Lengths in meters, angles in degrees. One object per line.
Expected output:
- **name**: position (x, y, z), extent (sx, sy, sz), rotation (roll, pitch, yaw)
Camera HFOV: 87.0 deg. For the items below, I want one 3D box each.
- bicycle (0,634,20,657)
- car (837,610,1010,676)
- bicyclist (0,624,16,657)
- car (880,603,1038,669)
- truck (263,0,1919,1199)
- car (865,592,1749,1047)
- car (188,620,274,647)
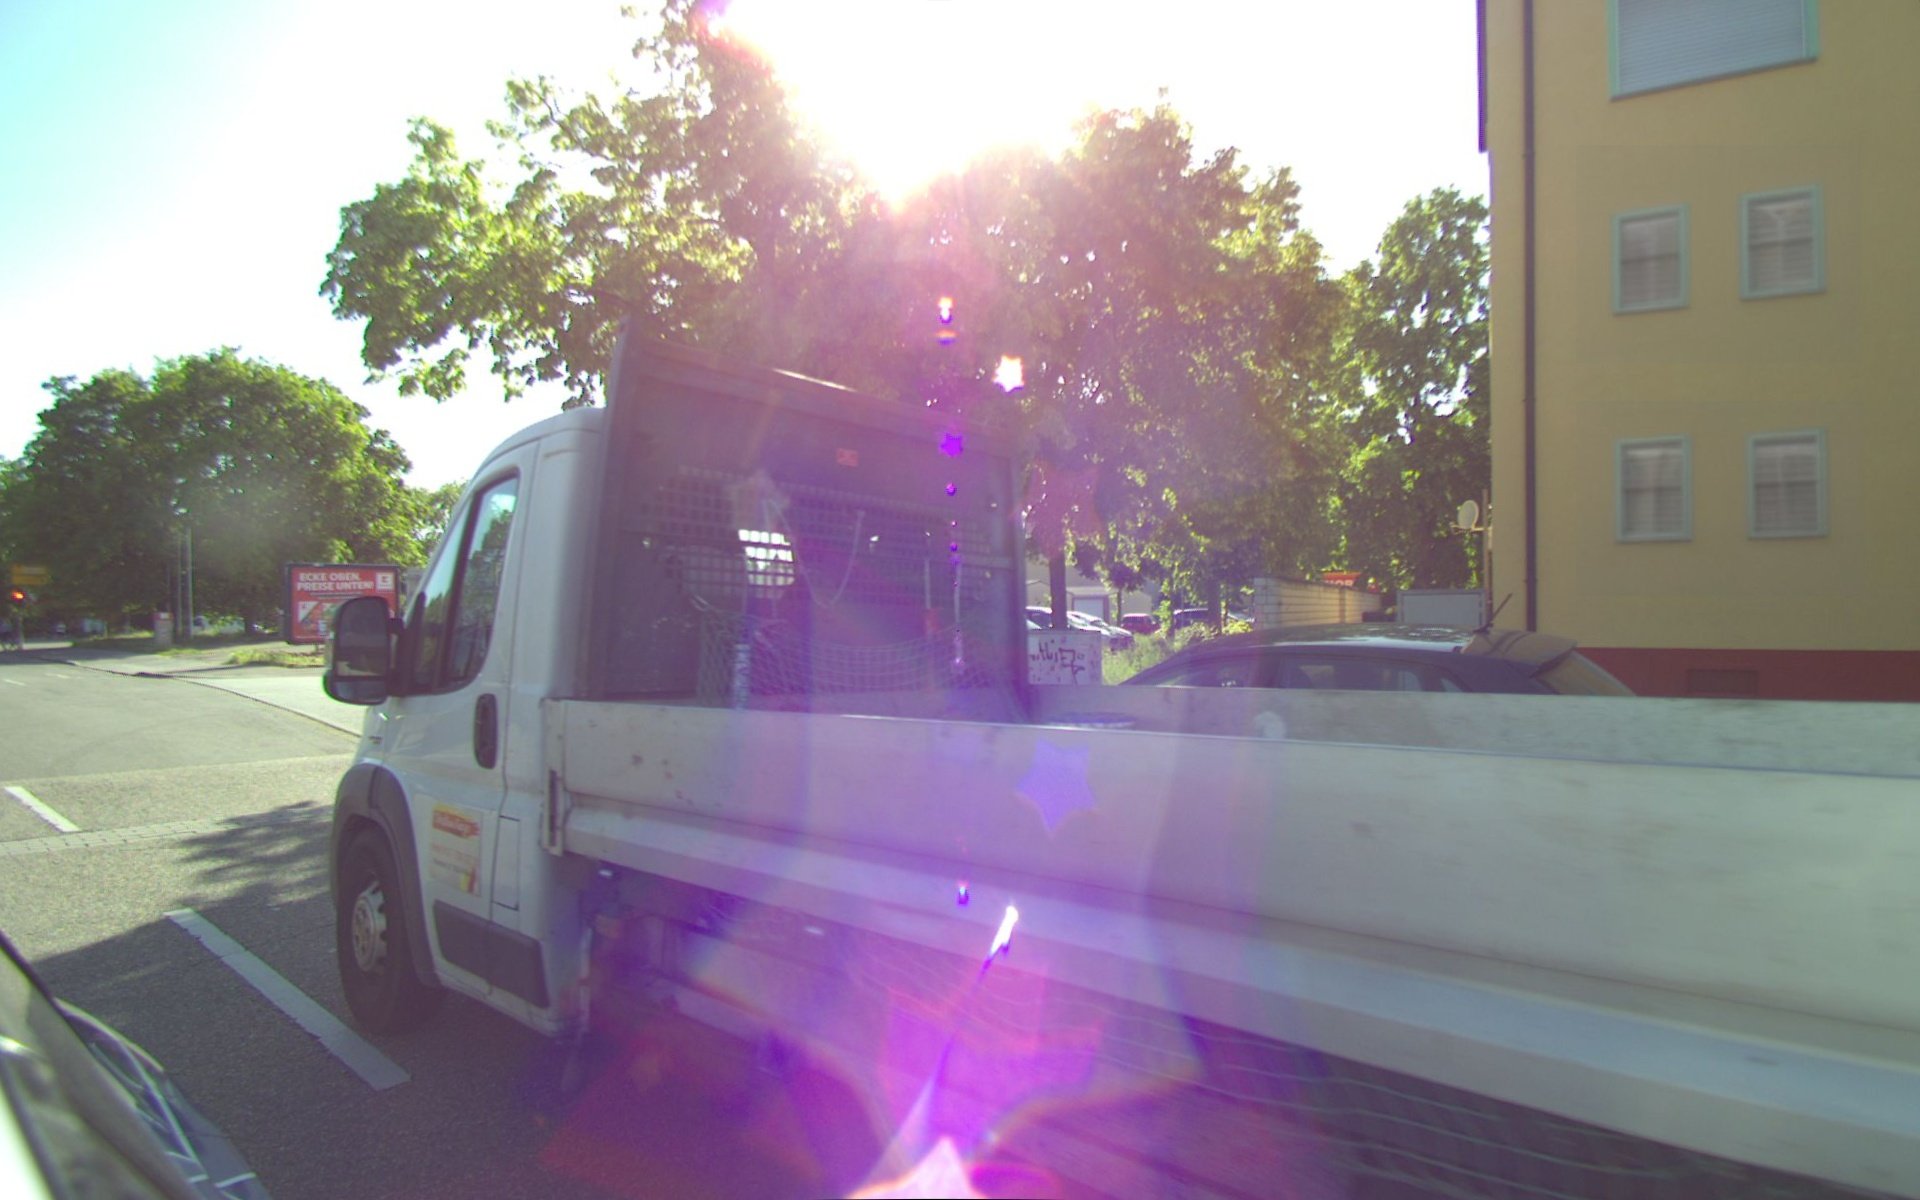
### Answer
- **bicycle**: position (-48.784, 2.304, 51.803), extent (2.020, 1.150, 0.523), rotation (-2, -1, 34)
- **car**: position (-0.897, 1.047, 24.578), extent (3.862, 1.475, 1.718), rotation (-2, -1, 27)
- **bicyclist**: position (-48.874, 2.072, 51.841), extent (0.827, 1.654, 0.536), rotation (-2, -1, 34)
- **car**: position (-0.037, 0.971, 27.150), extent (3.858, 1.634, 1.689), rotation (-2, -1, 25)
- **truck**: position (0.166, 0.366, 2.918), extent (6.440, 2.352, 2.107), rotation (-1, -1, 42)
- **car**: position (1.570, 0.744, 5.363), extent (4.045, 1.491, 1.685), rotation (1, 2, 37)
- **car**: position (-53.232, 2.453, 73.958), extent (1.855, 1.855, 4.820), rotation (-1, -1, 28)
